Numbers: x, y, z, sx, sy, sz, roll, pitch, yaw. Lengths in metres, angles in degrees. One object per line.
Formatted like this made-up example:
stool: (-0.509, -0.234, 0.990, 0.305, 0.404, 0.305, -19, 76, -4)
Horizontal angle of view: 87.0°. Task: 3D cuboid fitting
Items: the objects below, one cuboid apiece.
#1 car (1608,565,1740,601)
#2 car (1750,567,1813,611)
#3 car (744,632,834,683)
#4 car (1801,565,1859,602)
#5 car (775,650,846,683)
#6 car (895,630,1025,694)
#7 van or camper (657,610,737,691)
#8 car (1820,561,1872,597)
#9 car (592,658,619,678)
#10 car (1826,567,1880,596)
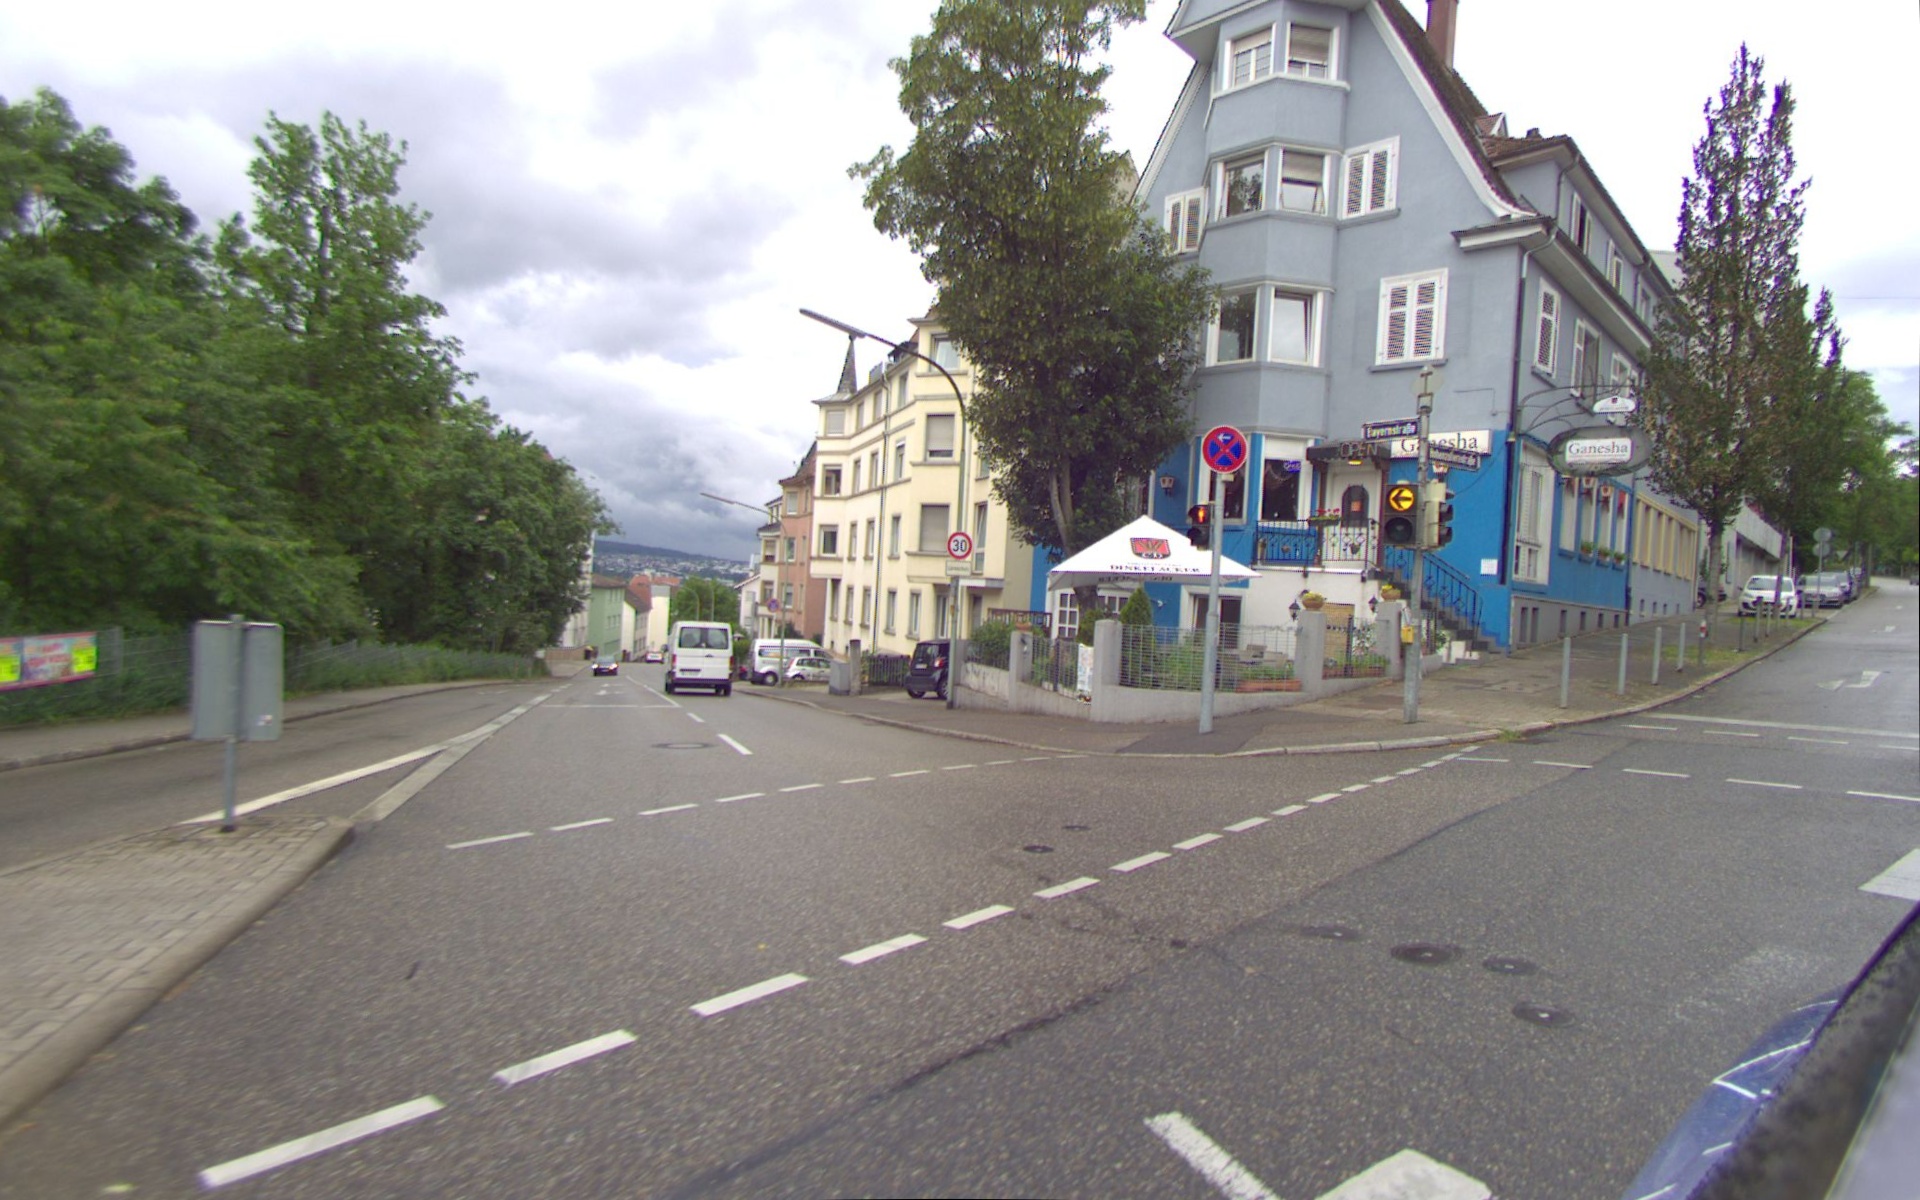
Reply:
car: (29.803, -0.747, 42.400, 4.330, 1.424, 1.791, 1, 3, 30)
car: (29.135, -0.439, 35.862, 1.585, 1.428, 3.406, 4, 4, 40)
car: (-8.456, 2.874, 49.893, 4.087, 2.264, 1.944, 3, -7, -18)
car: (39.184, -0.771, 45.549, 1.814, 1.477, 4.670, 4, 4, 42)
car: (-7.005, 3.114, 47.391, 2.990, 1.423, 1.307, 4, -4, -23)
car: (0.023, 1.625, 27.095, 3.084, 1.517, 1.639, -1, -2, -36)
van or camper: (-8.709, 1.704, 33.184, 2.066, 2.357, 5.425, 3, -4, -18)
car: (44.901, -1.112, 51.257, 1.745, 1.694, 4.277, 4, 4, 44)
car: (-28.376, 5.425, 81.016, 1.760, 1.325, 3.975, 3, -2, -16)
car: (48.316, -1.031, 54.735, 4.029, 1.461, 1.709, -2, 4, -43)
